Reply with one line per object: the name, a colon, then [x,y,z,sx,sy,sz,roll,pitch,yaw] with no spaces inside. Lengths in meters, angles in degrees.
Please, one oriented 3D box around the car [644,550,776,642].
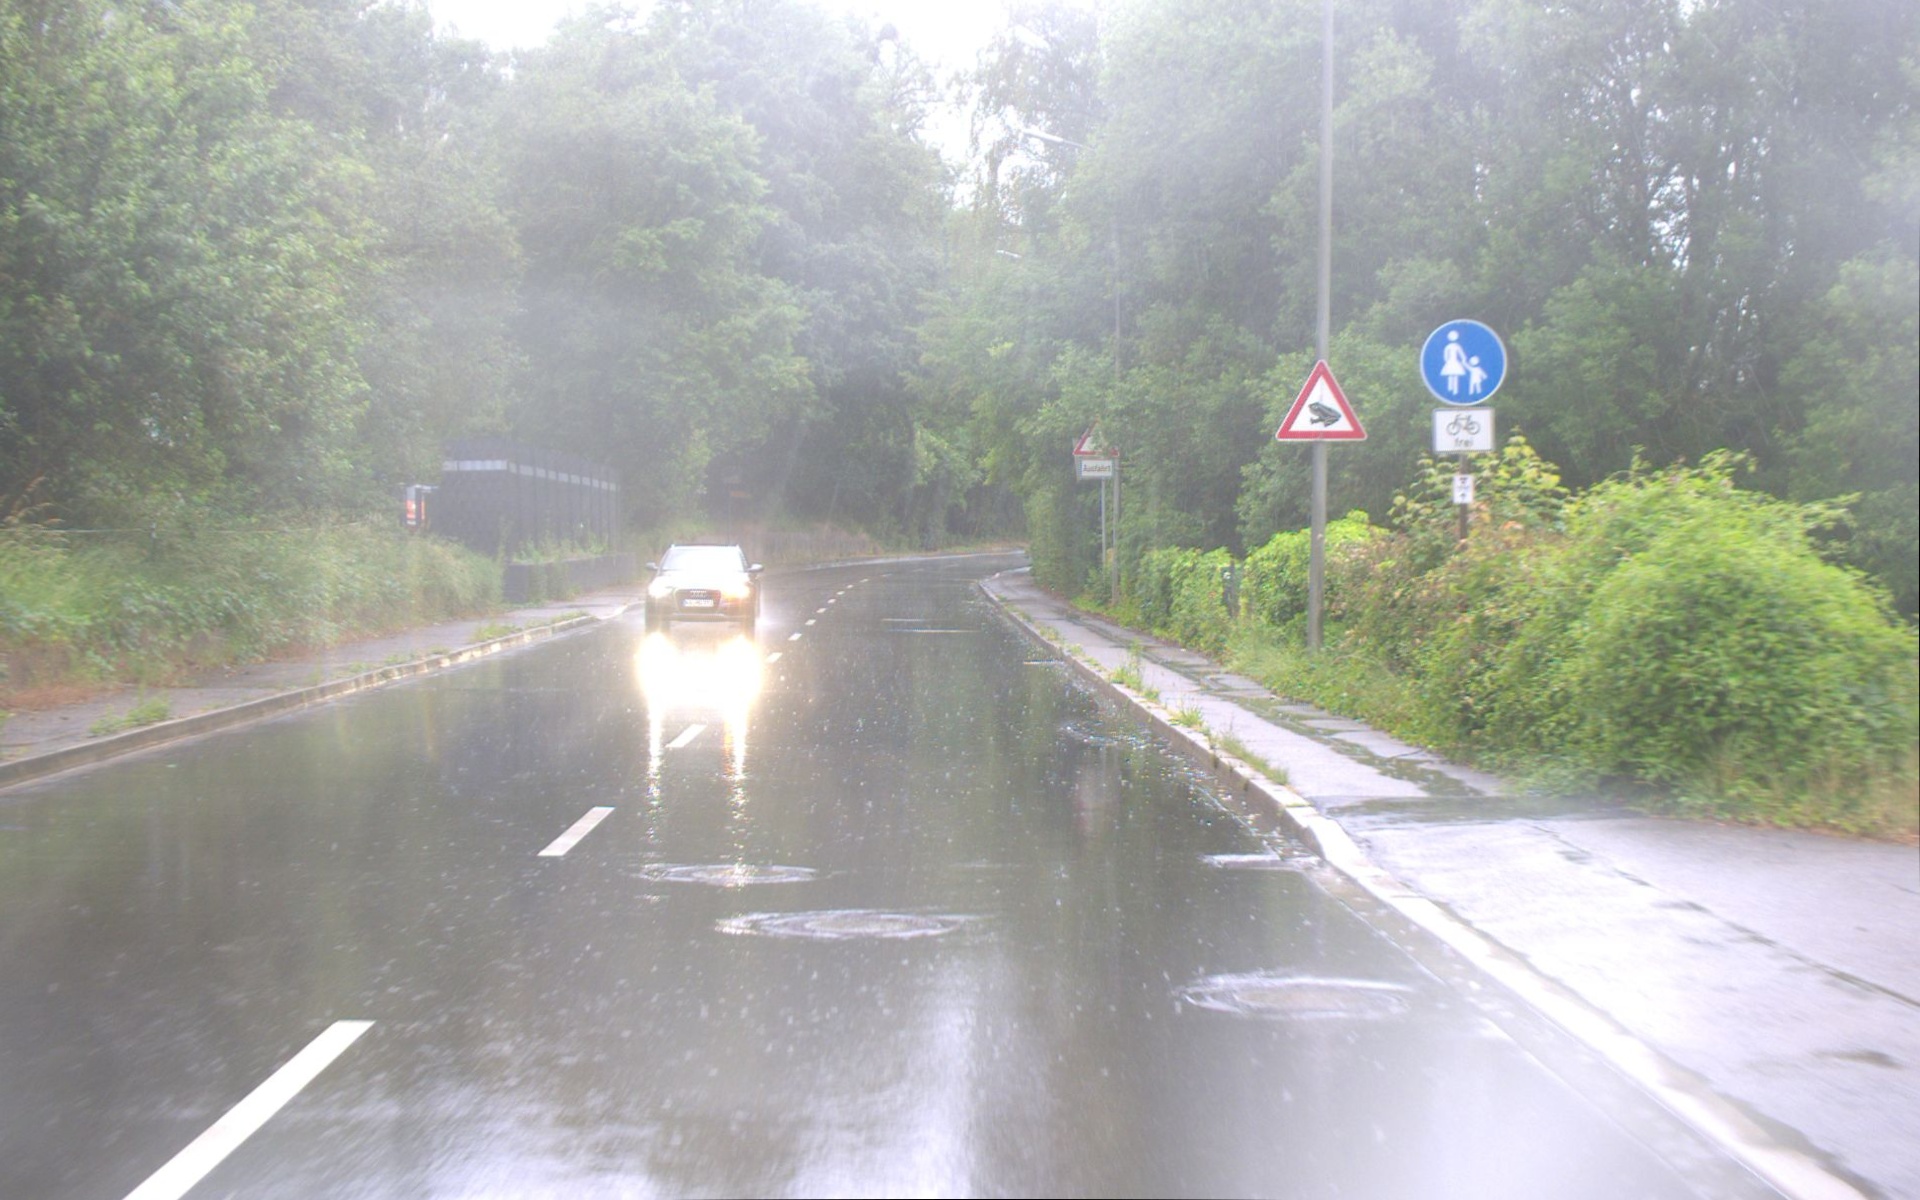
car: [-4.305,-0.100,59.811,1.993,1.449,4.428,1,1,-1]
